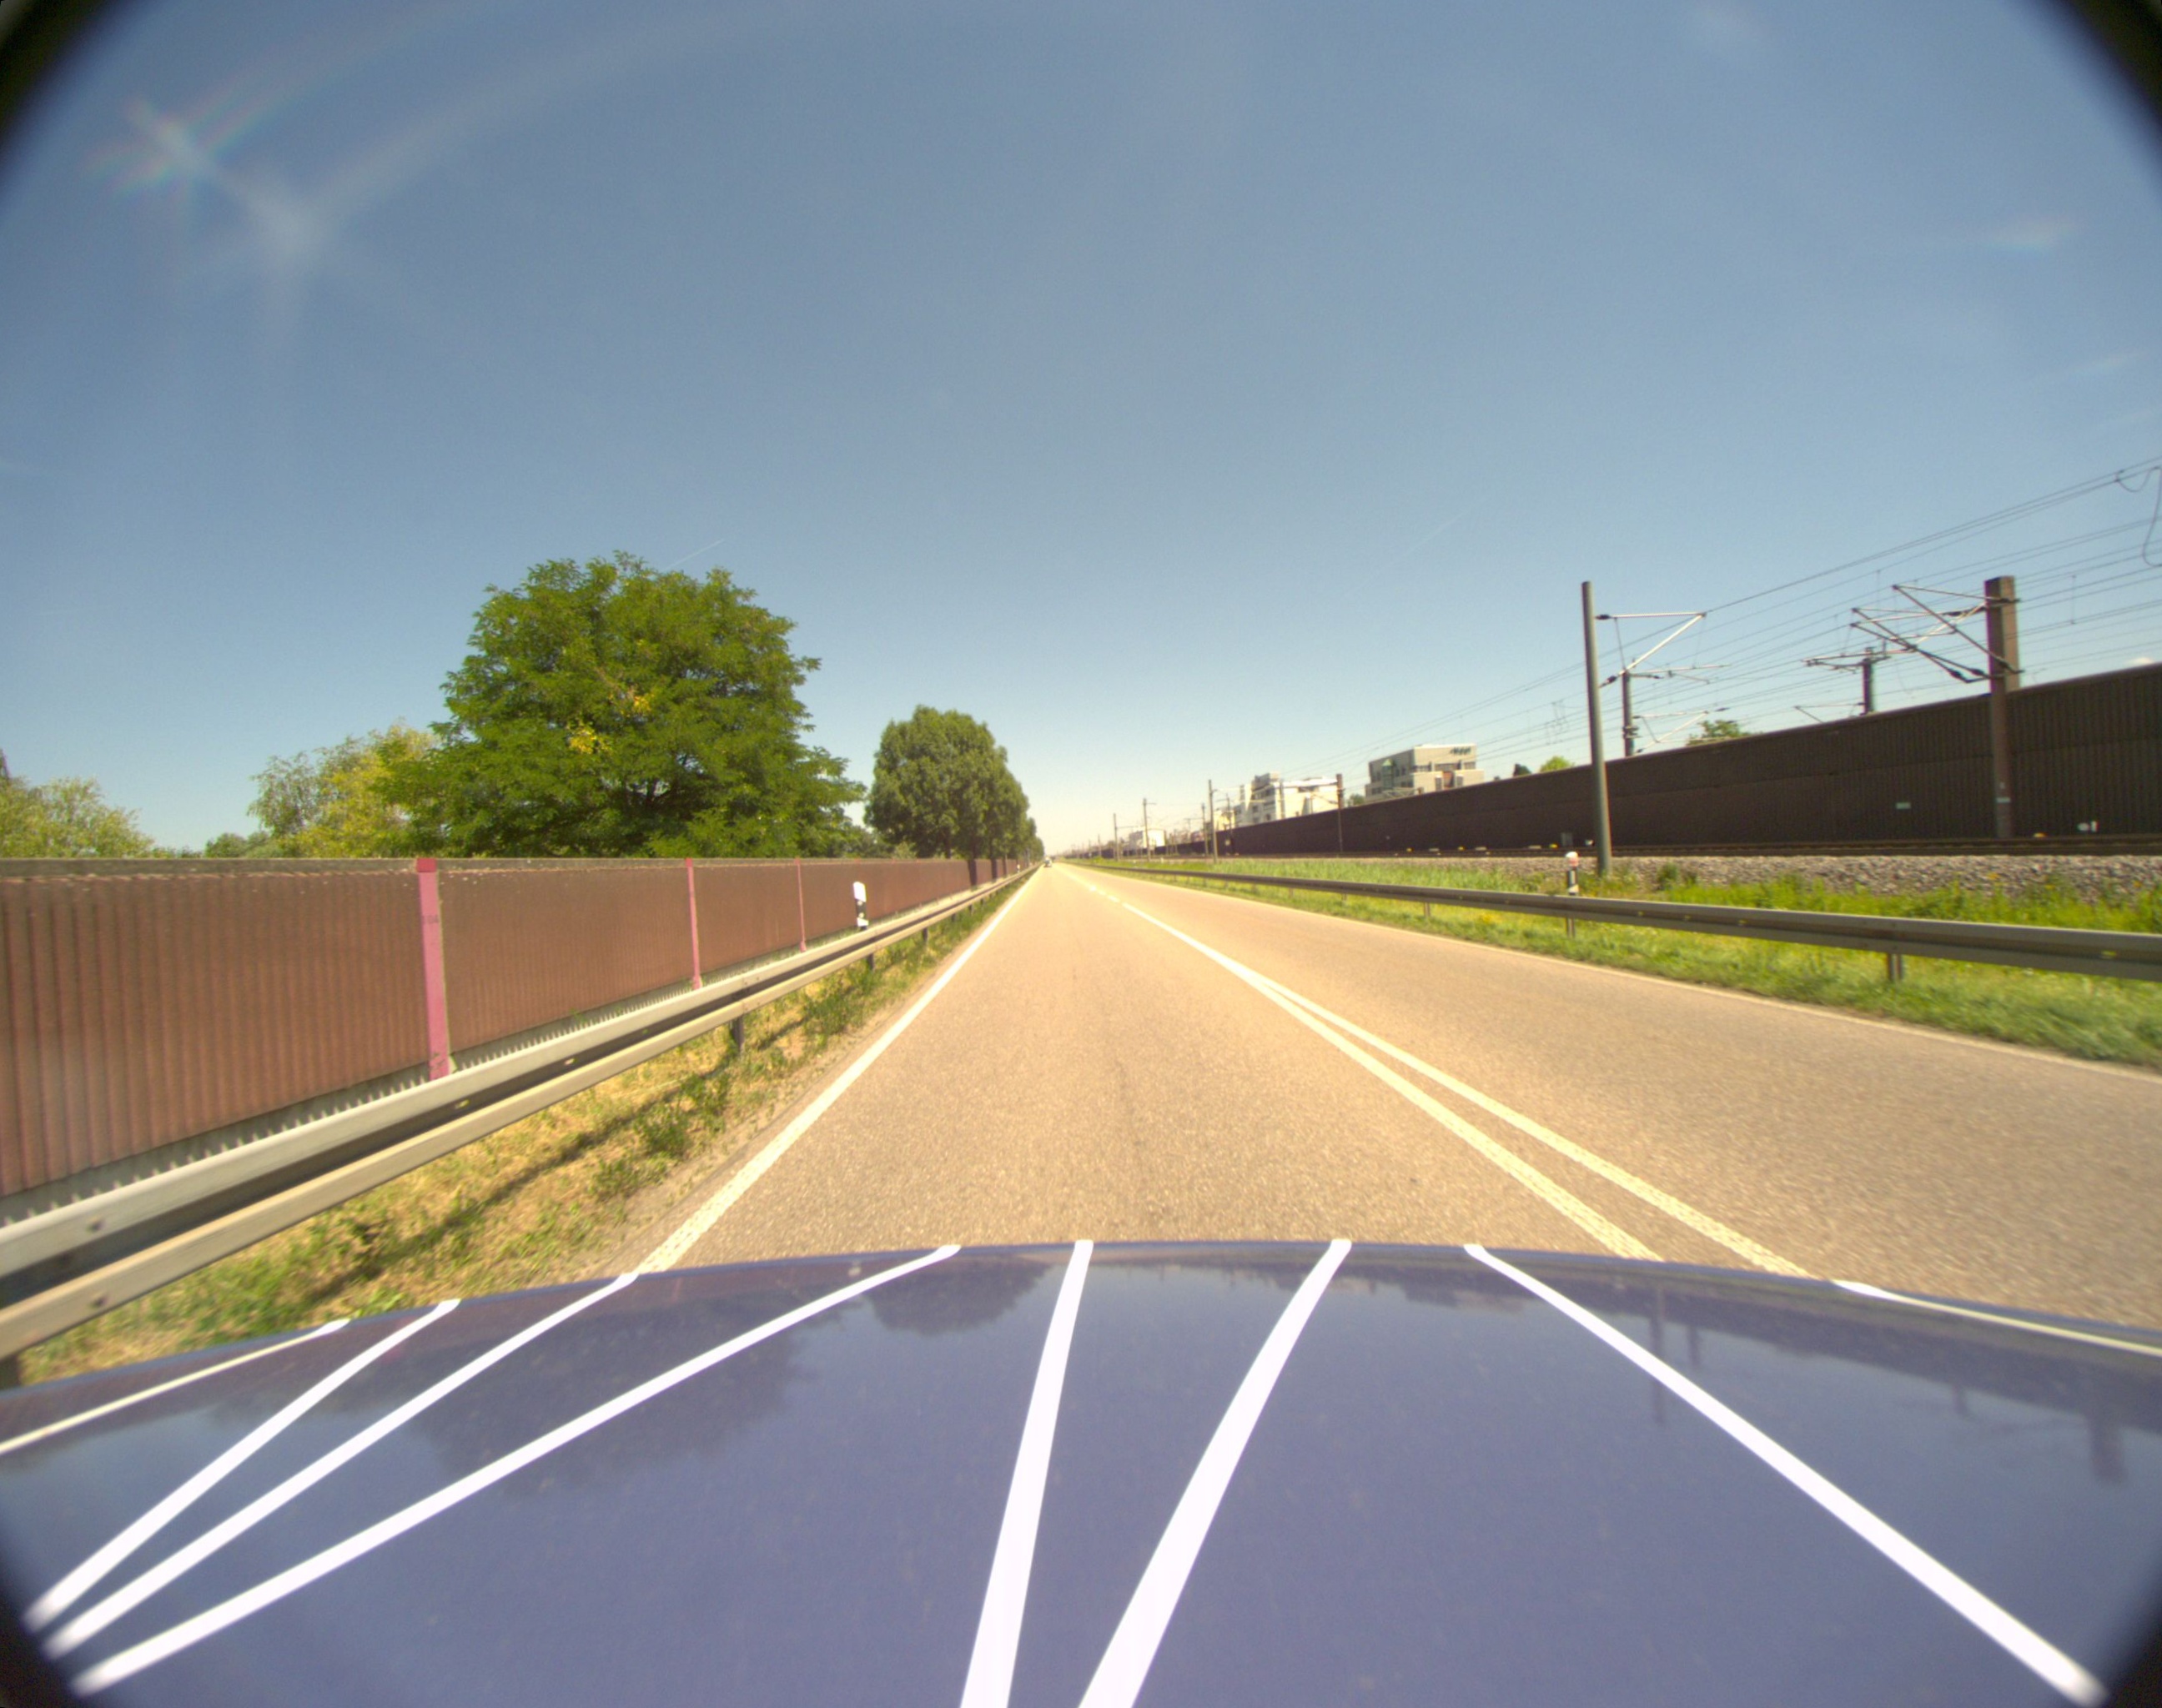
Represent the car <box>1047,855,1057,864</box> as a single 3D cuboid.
[{"bbox_3d":[-6.927,1.282,181.338,1.998,2.002,4.000,-3,0,1],"label":"car"}]
